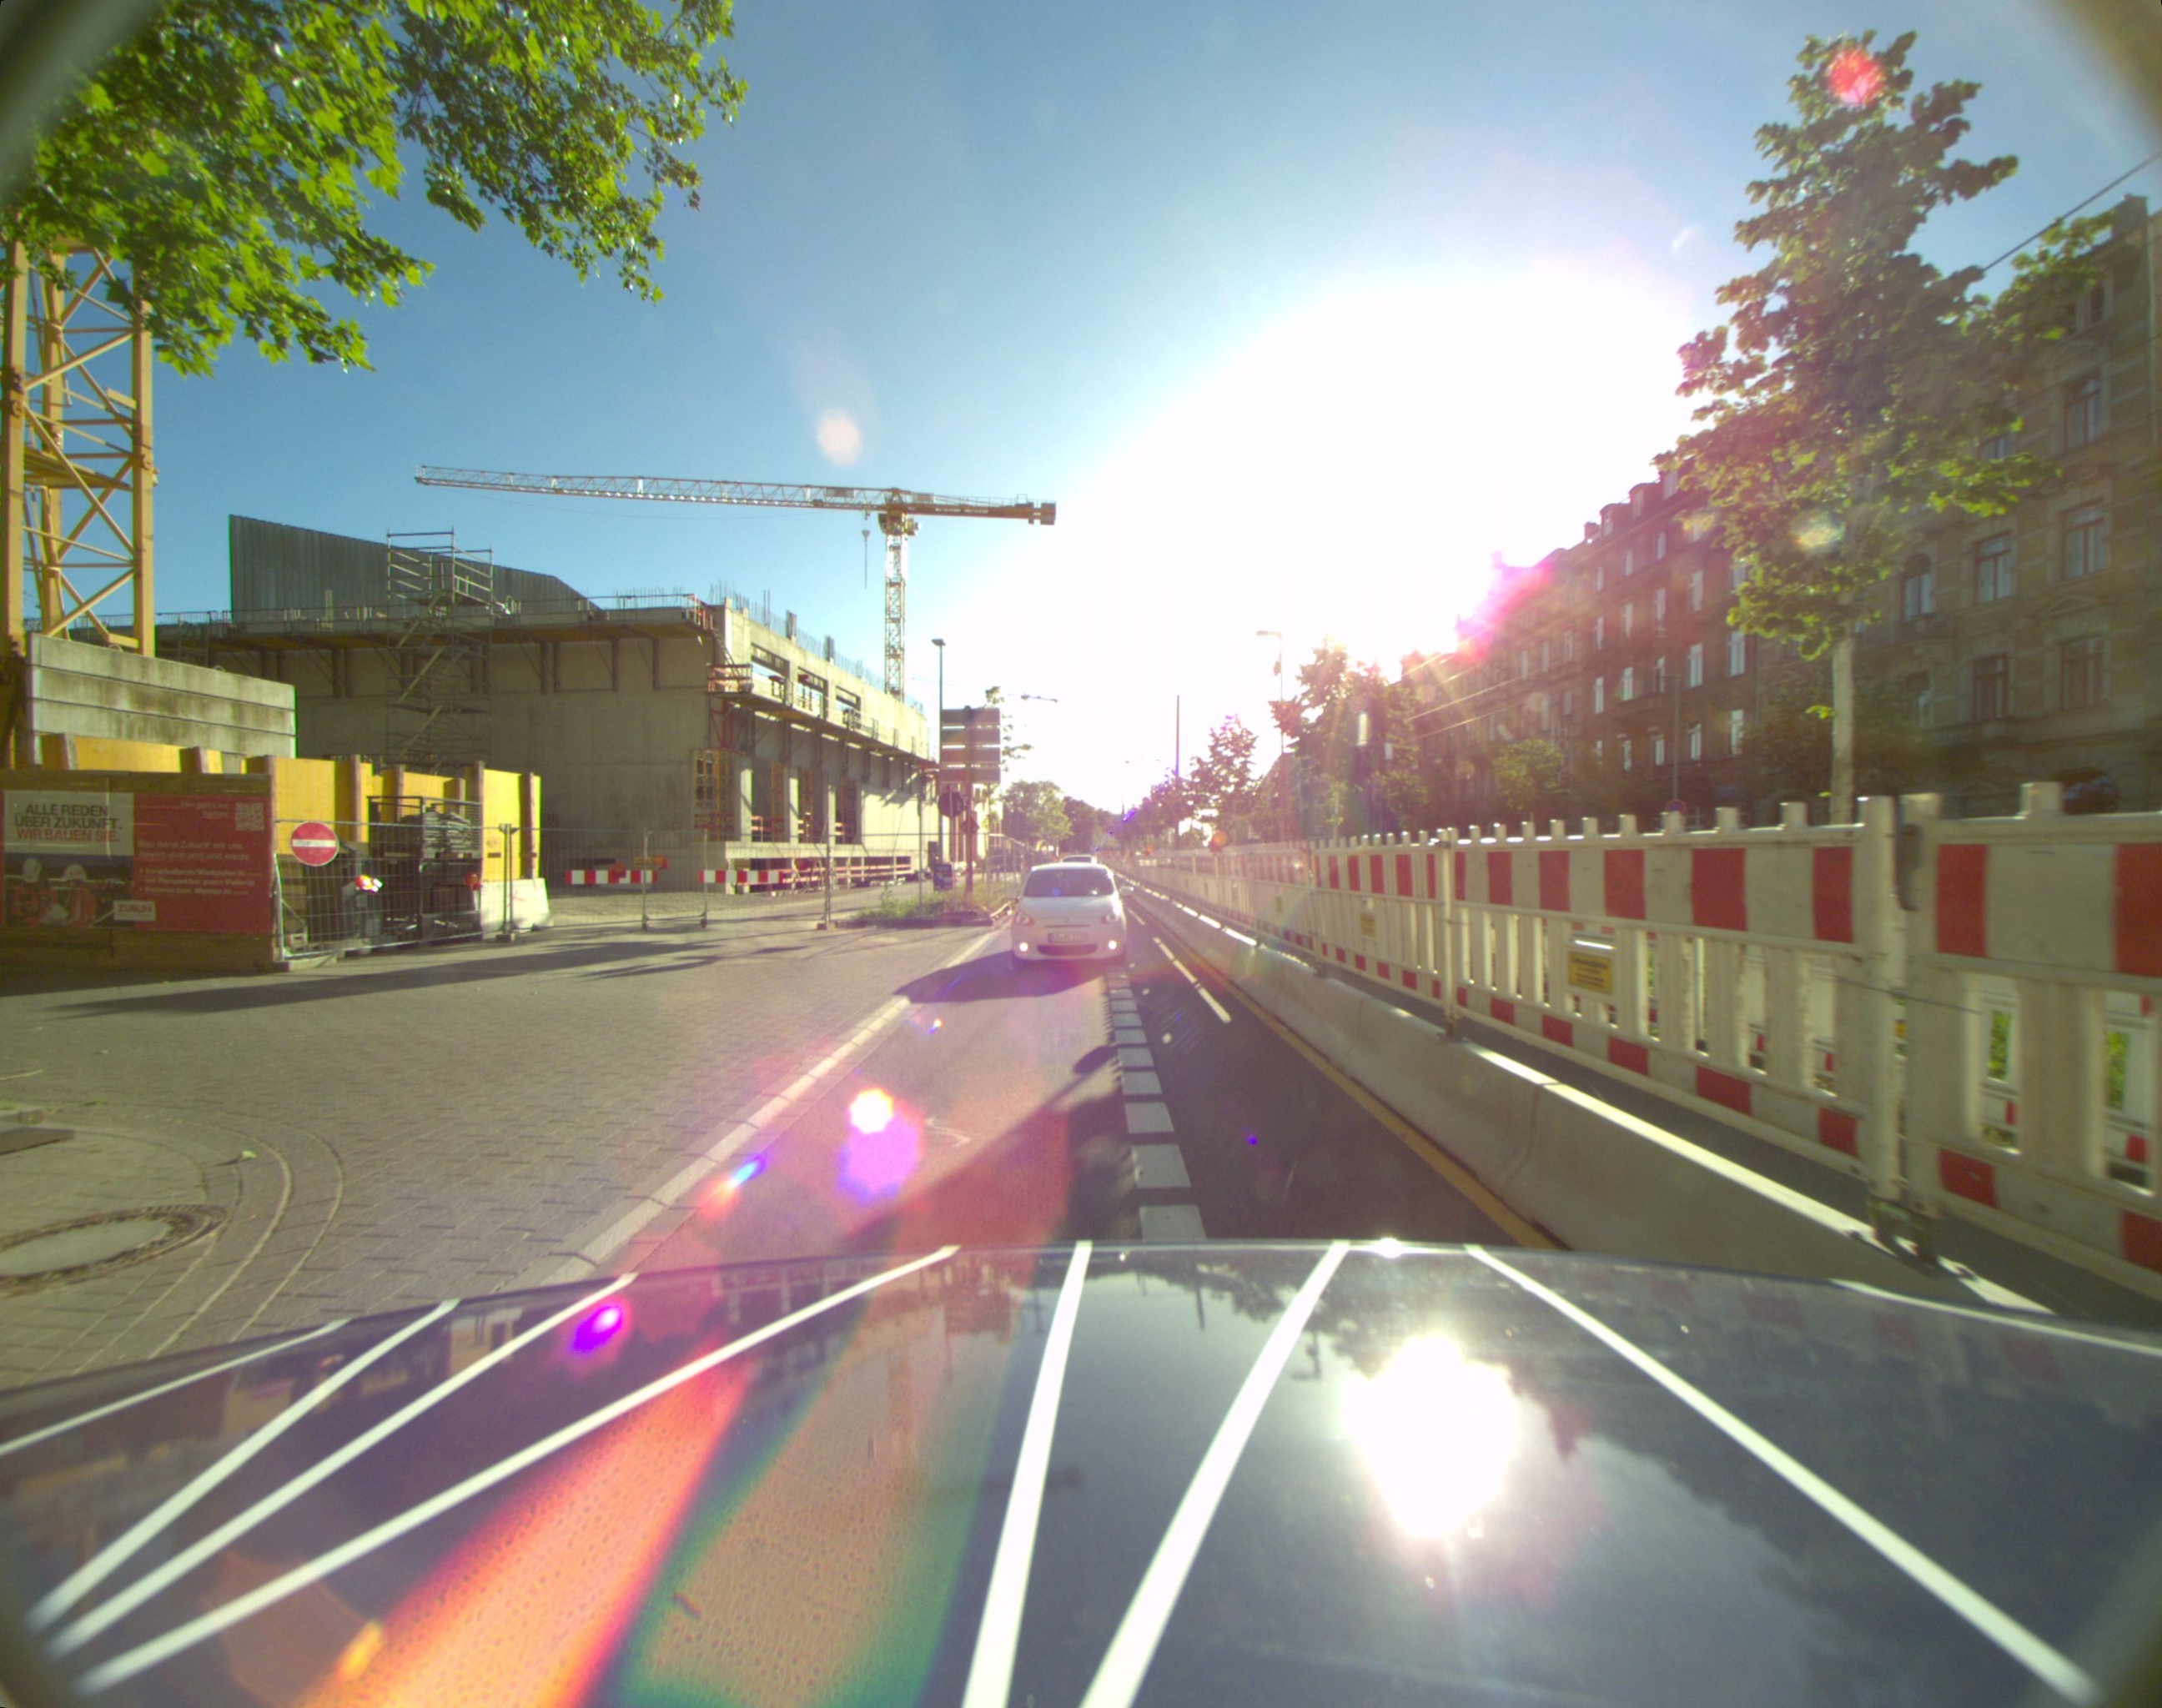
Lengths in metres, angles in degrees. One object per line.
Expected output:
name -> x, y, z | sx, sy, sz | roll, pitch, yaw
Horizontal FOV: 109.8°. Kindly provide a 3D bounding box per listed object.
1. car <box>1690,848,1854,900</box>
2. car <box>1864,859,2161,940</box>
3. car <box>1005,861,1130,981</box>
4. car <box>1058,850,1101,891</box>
car -> 22.674, 0.590, 25.161 | 1.753, 1.471, 4.027 | -2, 1, 1
car -> 22.607, 0.971, 18.484 | 1.998, 1.529, 4.984 | -2, 1, 1
car -> -0.155, 0.931, 12.449 | 1.634, 1.499, 4.350 | -2, 0, 1
car -> -0.072, 0.744, 37.103 | 1.900, 1.730, 3.999 | -3, 1, 0
